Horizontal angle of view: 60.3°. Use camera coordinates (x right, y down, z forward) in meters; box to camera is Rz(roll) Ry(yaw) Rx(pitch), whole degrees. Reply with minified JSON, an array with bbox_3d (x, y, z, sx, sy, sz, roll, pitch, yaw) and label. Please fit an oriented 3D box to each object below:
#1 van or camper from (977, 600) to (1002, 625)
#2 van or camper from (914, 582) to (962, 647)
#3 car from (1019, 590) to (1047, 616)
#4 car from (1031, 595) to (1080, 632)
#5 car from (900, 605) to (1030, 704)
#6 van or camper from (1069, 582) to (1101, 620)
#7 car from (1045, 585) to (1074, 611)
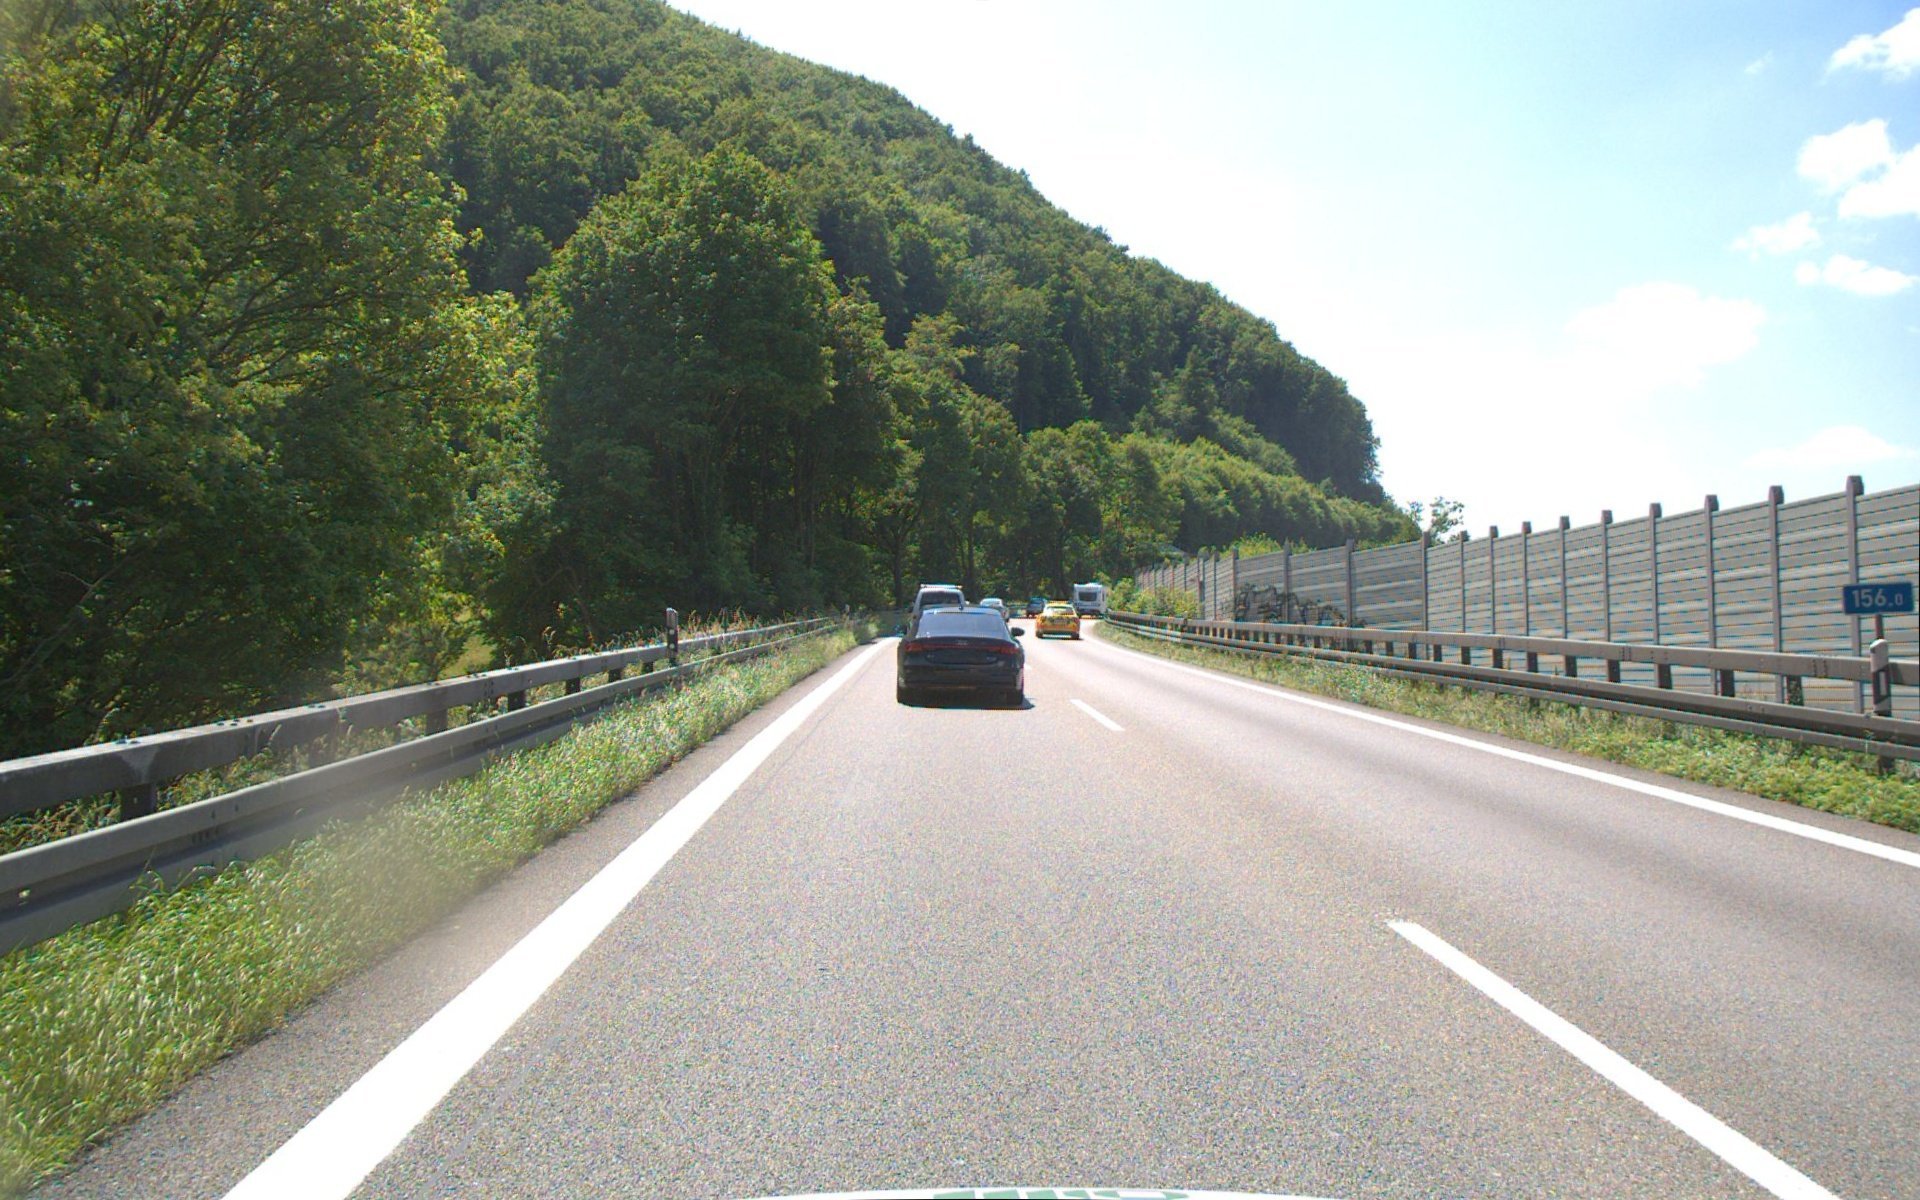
[{"bbox_3d":[1.883,0.803,107.196,1.526,1.561,3.504,0,0,-1],"label":"van or camper"},{"bbox_3d":[-0.661,0.429,49.019,1.363,1.847,3.999,0,0,-1],"label":"van or camper"},{"bbox_3d":[5.819,0.263,131.961,1.951,2.049,4.003,0,0,6],"label":"car"},{"bbox_3d":[4.044,0.562,70.488,1.825,1.514,4.000,0,0,0],"label":"car"},{"bbox_3d":[0.032,0.770,24.961,1.800,1.373,3.999,0,0,-1],"label":"car"},{"bbox_3d":[9.992,0.069,132.362,2.404,2.969,6.128,0,0,3],"label":"van or camper"},{"bbox_3d":[6.638,-0.093,110.566,1.736,1.665,4.001,1,-1,2],"label":"car"}]
